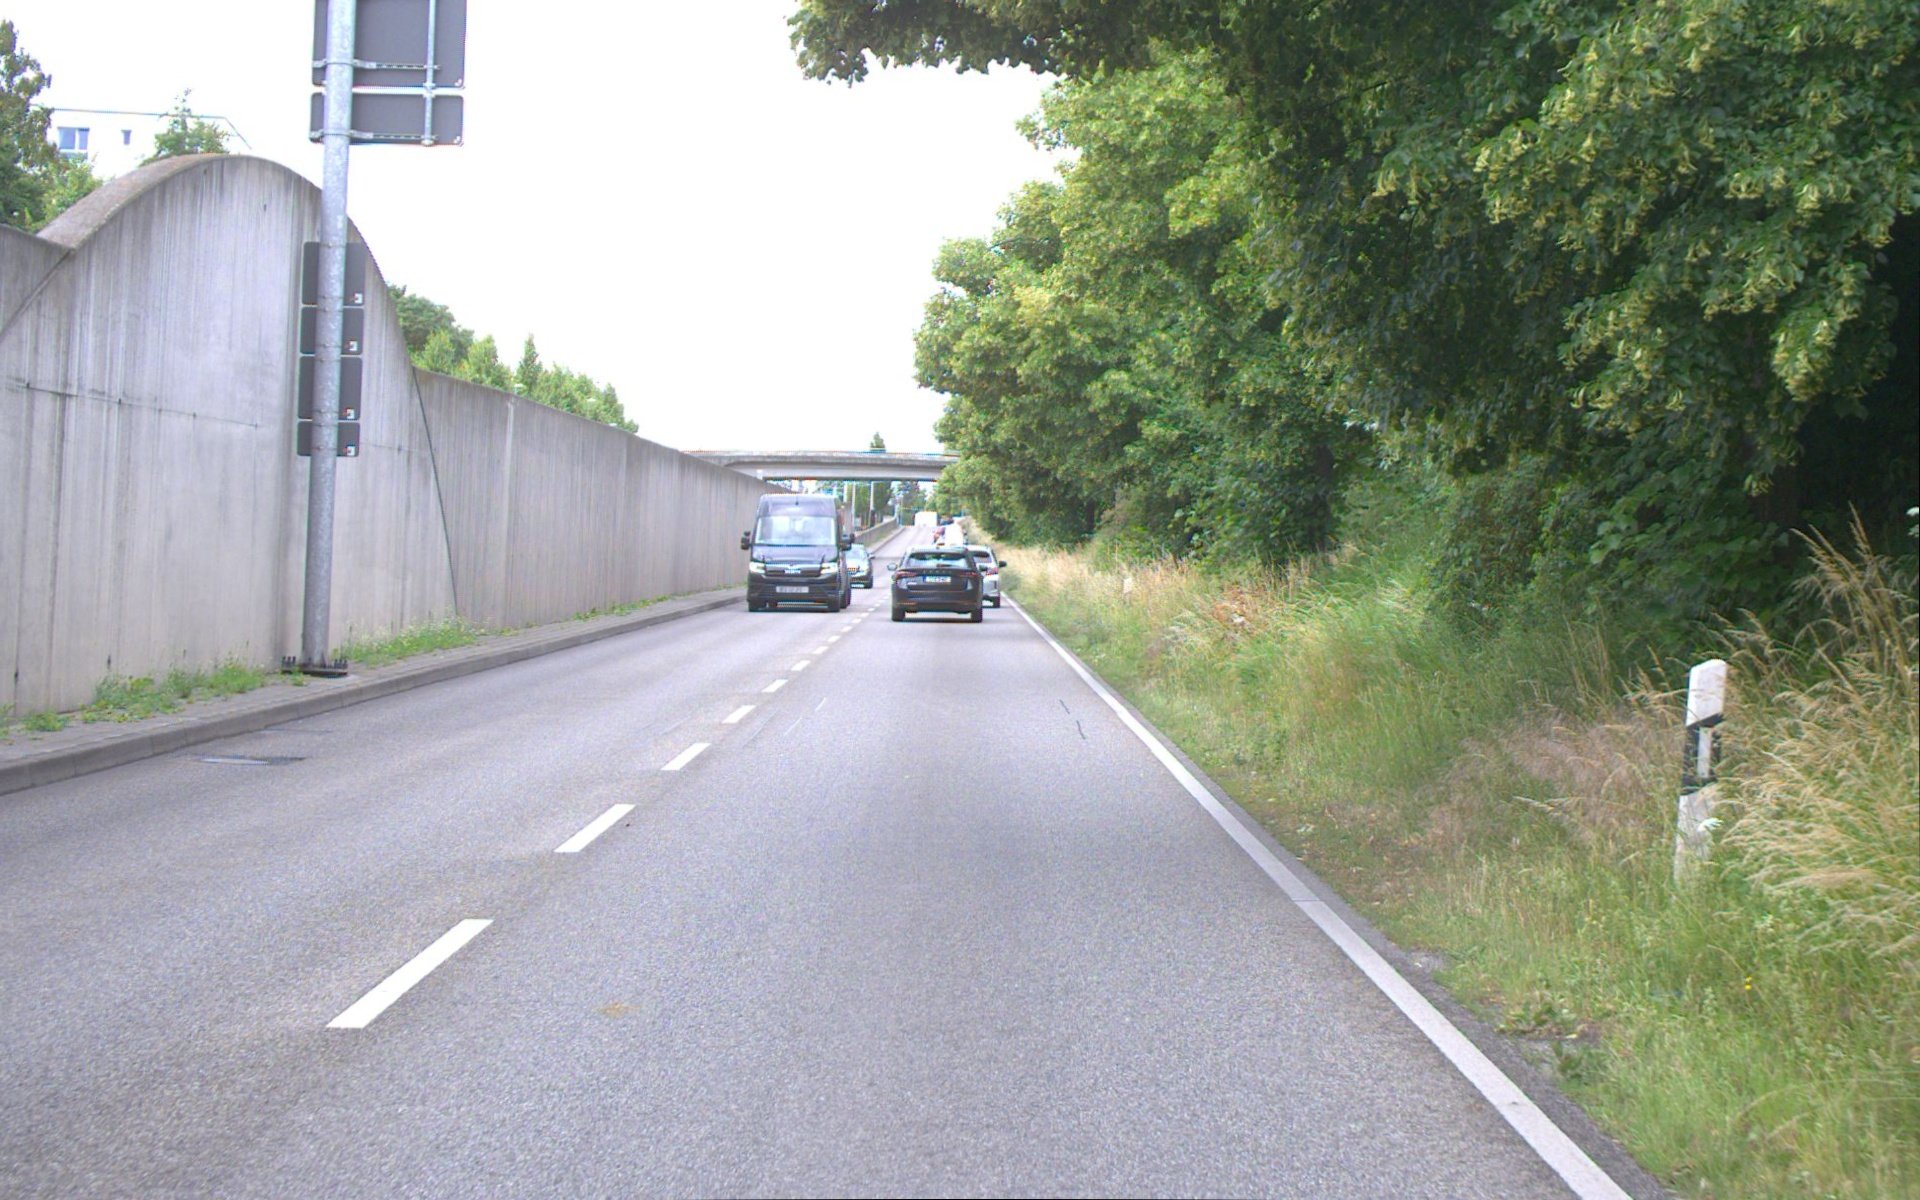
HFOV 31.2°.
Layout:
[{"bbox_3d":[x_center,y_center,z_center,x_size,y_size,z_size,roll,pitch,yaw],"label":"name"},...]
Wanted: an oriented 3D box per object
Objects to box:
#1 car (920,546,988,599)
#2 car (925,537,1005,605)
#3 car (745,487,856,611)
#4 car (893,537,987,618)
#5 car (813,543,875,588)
[{"bbox_3d":[-0.196,-0.869,105.812,1.866,1.485,4.257,4,1,-2],"label":"car"},{"bbox_3d":[0.093,-0.687,83.224,1.754,1.518,4.036,-1,-1,-2],"label":"car"},{"bbox_3d":[-3.492,-1.146,76.571,2.109,2.621,7.417,1,1,0],"label":"car"},{"bbox_3d":[-0.419,-0.443,67.023,1.754,1.518,4.037,-1,0,-1],"label":"car"},{"bbox_3d":[-3.898,-1.172,116.279,1.892,1.478,4.823,1,1,0],"label":"car"}]
